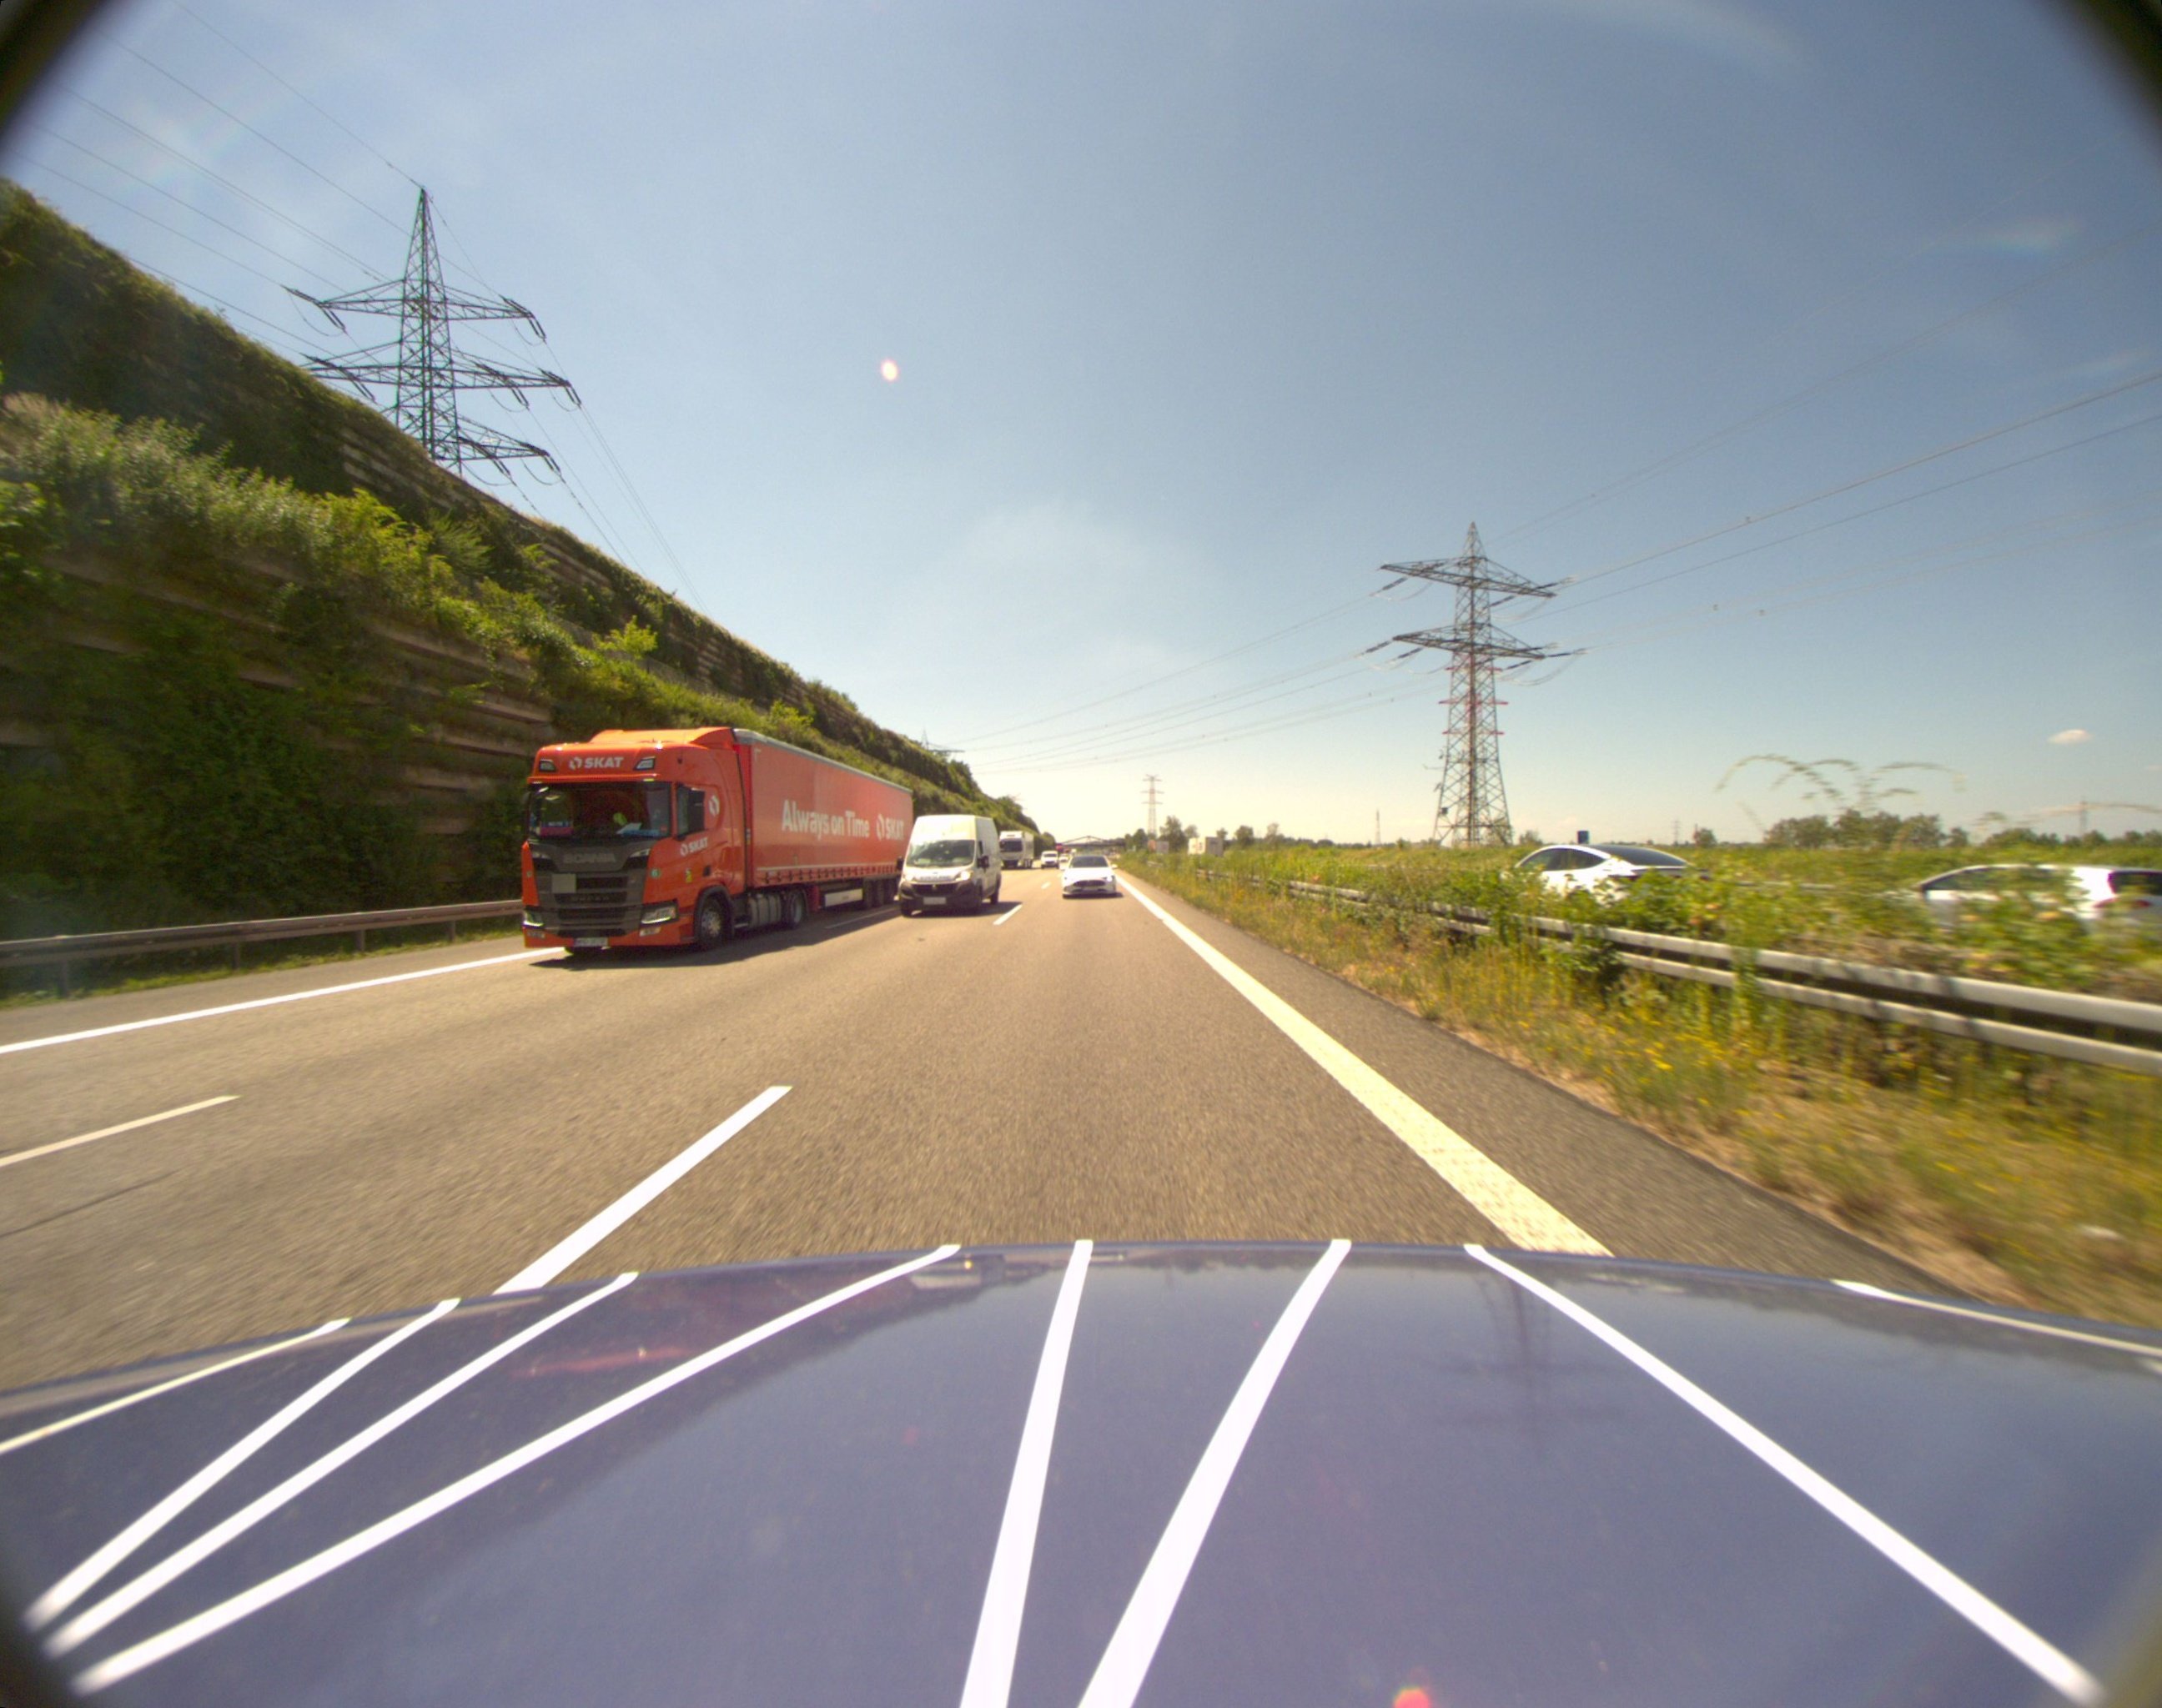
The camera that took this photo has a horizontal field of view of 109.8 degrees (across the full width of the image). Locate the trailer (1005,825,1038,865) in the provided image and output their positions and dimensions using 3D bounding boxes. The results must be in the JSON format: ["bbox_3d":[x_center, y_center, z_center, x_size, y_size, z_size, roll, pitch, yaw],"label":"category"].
[{"bbox_3d":[-6.721,-0.939,88.221,2.521,4.187,17.025,-1,0,0],"label":"trailer"}]

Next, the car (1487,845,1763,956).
[{"bbox_3d":[9.335,0.680,13.586,1.817,1.674,4.269,0,1,-1],"label":"car"}]

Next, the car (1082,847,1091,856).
[{"bbox_3d":[1.358,-0.586,188.903,1.998,2.002,3.999,-2,1,1],"label":"car"}]

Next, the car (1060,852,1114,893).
[{"bbox_3d":[0.208,0.701,30.632,1.999,1.474,4.108,-1,0,0],"label":"car"}]

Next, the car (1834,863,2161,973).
[{"bbox_3d":[15.449,0.902,12.623,1.598,1.426,4.269,0,1,-1],"label":"car"}]

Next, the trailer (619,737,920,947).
[{"bbox_3d":[-7.445,-0.268,21.462,2.652,3.981,13.605,-2,0,1],"label":"trailer"}]

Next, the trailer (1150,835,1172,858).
[{"bbox_3d":[15.204,-1.345,145.449,2.597,4.213,14.327,0,0,0],"label":"trailer"}]

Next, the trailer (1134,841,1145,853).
[{"bbox_3d":[19.505,-2.252,255.213,2.676,4.061,13.914,0,0,0],"label":"trailer"}]

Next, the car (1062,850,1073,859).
[{"bbox_3d":[-2.359,0.085,128.176,1.784,1.475,3.999,-2,0,-1],"label":"car"}]

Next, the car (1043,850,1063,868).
[{"bbox_3d":[-2.854,0.473,78.055,1.784,1.783,4.000,-2,0,0],"label":"car"}]

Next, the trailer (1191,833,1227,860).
[{"bbox_3d":[19.161,-1.167,115.118,2.861,3.800,15.977,0,0,0],"label":"trailer"}]

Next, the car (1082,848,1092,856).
[{"bbox_3d":[1.058,-0.405,135.590,1.784,1.475,3.999,0,0,-1],"label":"car"}]

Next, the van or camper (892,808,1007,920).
[{"bbox_3d":[-3.611,0.227,22.342,2.102,2.753,6.756,-1,0,0],"label":"van or camper"}]

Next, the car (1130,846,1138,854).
[{"bbox_3d":[15.249,-1.150,220.263,1.998,2.423,6.030,0,0,2],"label":"car"}]

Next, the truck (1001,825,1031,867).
[{"bbox_3d":[-6.729,-0.827,79.639,2.514,4.196,6.255,-1,1,0],"label":"truck"}]

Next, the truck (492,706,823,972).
[{"bbox_3d":[-7.508,-0.236,14.758,2.624,3.969,6.526,-1,0,1],"label":"truck"}]
